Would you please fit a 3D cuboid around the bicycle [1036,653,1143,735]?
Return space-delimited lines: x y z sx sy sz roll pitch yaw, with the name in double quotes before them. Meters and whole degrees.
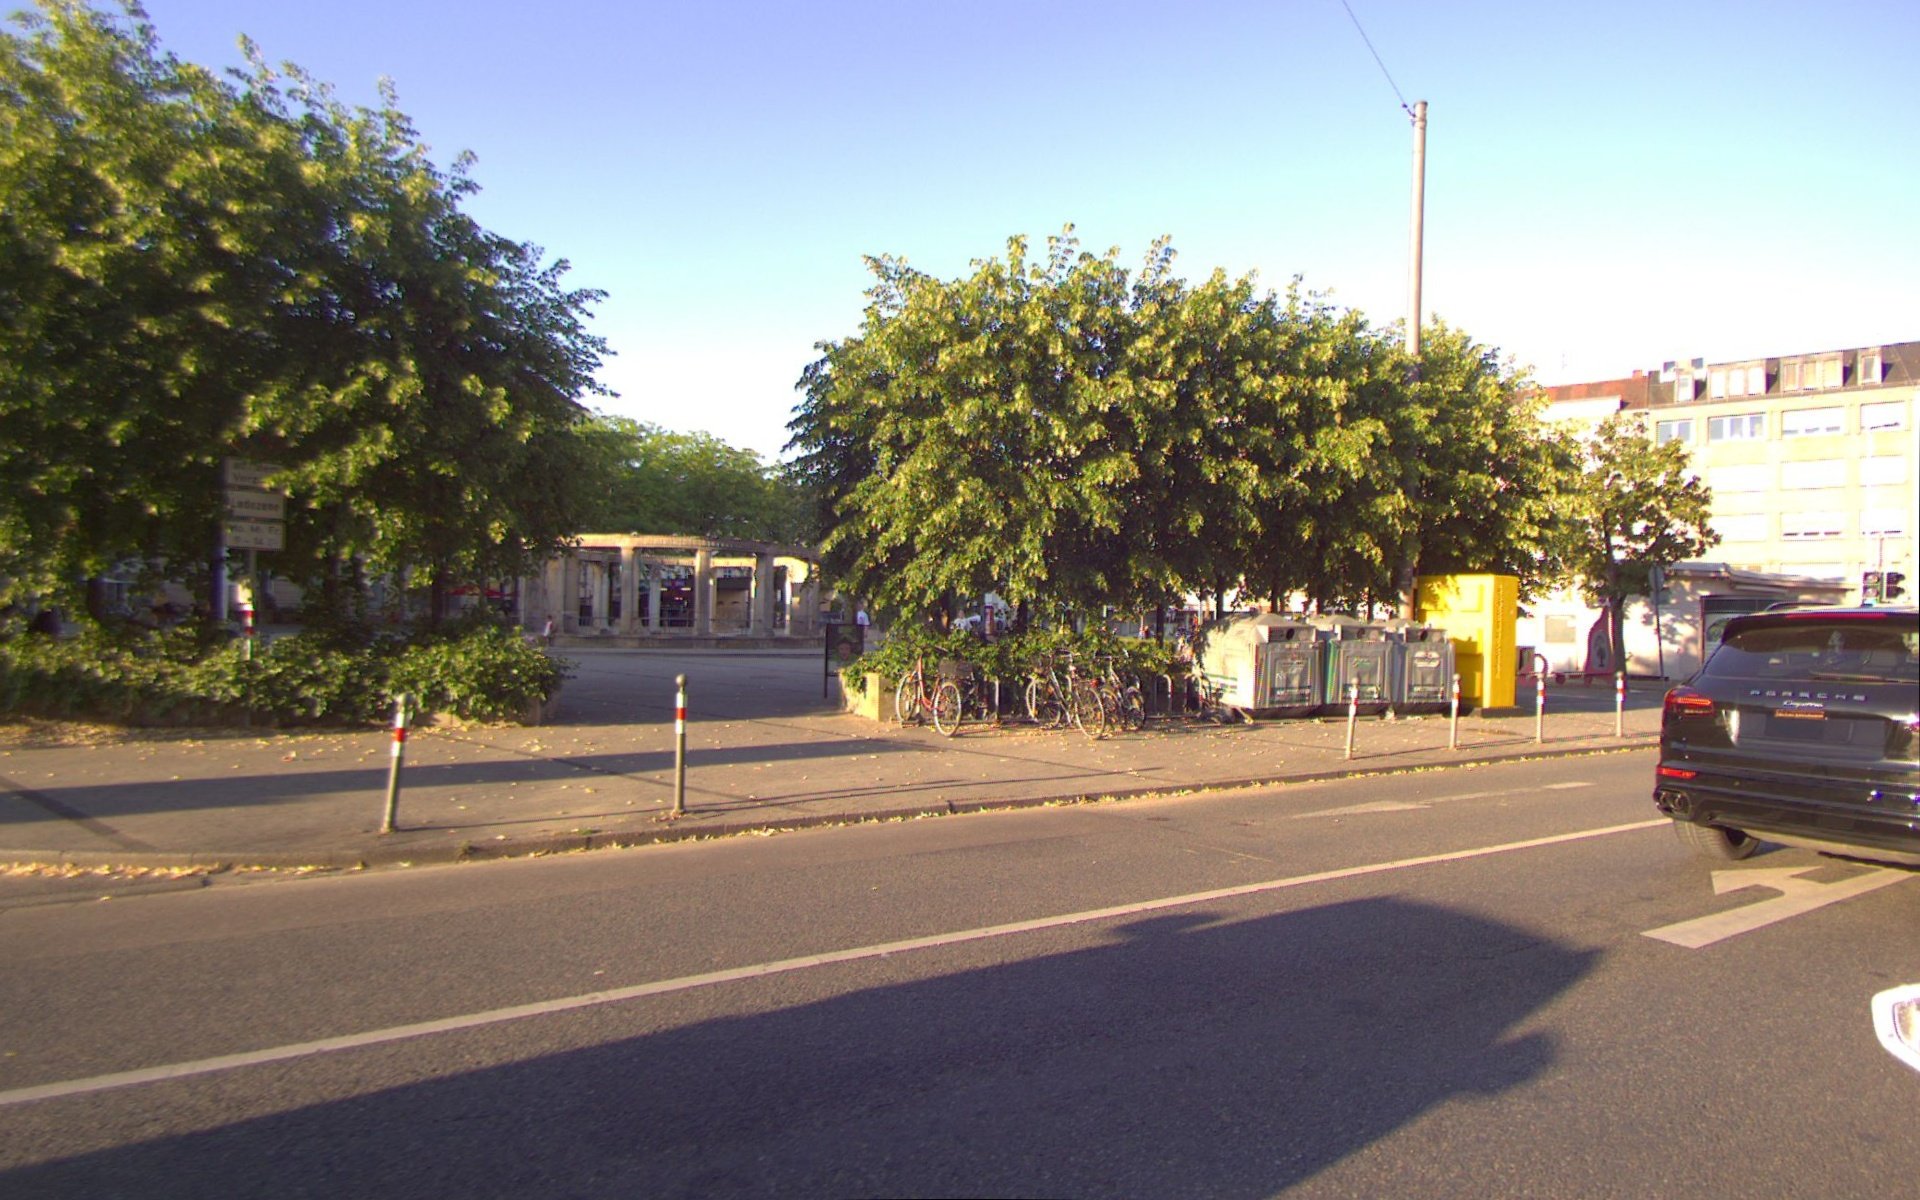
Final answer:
"bicycle" 1.813 1.302 14.302 0.543 0.992 1.663 2 0 -33

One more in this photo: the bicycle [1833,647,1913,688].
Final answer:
"bicycle" 30.081 2.209 33.115 0.625 1.273 1.846 2 -2 -28

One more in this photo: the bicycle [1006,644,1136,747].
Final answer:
"bicycle" 1.429 1.216 13.325 0.543 1.149 2.013 2 0 -33

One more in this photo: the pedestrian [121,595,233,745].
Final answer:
"pedestrian" -11.075 0.965 14.242 0.840 2.040 0.906 1 -1 -3

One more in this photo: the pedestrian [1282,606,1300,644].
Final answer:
"pedestrian" 17.849 1.344 54.118 0.651 2.040 0.809 2 0 36

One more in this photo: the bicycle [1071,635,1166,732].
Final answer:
"bicycle" 2.299 1.187 14.703 0.440 1.269 1.578 2 0 -31

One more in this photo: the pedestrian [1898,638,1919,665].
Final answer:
"pedestrian" 55.421 2.985 58.587 0.933 1.557 0.906 1 -1 35

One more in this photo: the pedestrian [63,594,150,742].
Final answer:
"pedestrian" -12.228 0.951 14.414 0.730 2.040 0.872 1 -1 -28

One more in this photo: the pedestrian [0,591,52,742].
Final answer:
"pedestrian" -13.397 0.901 13.931 0.725 2.040 0.906 1 -1 -3

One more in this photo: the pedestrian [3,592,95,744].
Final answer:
"pedestrian" -12.670 0.930 13.999 0.730 2.040 0.759 1 -1 -28

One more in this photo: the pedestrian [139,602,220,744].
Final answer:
"pedestrian" -11.683 1.057 15.034 0.850 2.040 0.895 2 -1 -43

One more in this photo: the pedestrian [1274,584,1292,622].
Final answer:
"pedestrian" 17.742 0.181 55.171 0.650 2.040 0.809 2 0 35

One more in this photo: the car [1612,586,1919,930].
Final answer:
"car" 6.580 0.863 6.631 4.505 1.736 1.941 2 -2 -29

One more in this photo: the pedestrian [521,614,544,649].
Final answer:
"pedestrian" -13.435 0.993 31.546 0.519 1.077 0.462 0 1 -1

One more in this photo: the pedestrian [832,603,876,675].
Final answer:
"pedestrian" -2.639 0.970 25.151 0.878 1.748 0.736 2 0 8

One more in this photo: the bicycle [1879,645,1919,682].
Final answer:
"bicycle" 33.914 2.248 35.454 0.938 1.273 1.997 2 -2 -28

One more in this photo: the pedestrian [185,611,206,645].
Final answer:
"pedestrian" -25.533 0.931 33.547 0.525 1.077 0.457 -1 2 -36

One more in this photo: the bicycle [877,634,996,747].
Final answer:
"bicycle" -0.342 1.128 13.078 0.543 1.269 2.013 2 0 -33

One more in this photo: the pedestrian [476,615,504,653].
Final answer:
"pedestrian" -13.771 0.989 29.434 0.575 1.077 0.462 0 1 -1

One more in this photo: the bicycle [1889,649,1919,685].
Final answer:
"bicycle" 35.065 2.441 36.024 0.777 1.273 2.434 2 -2 -28

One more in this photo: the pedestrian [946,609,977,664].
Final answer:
"pedestrian" 0.046 1.118 30.912 0.824 1.642 0.705 2 0 8
